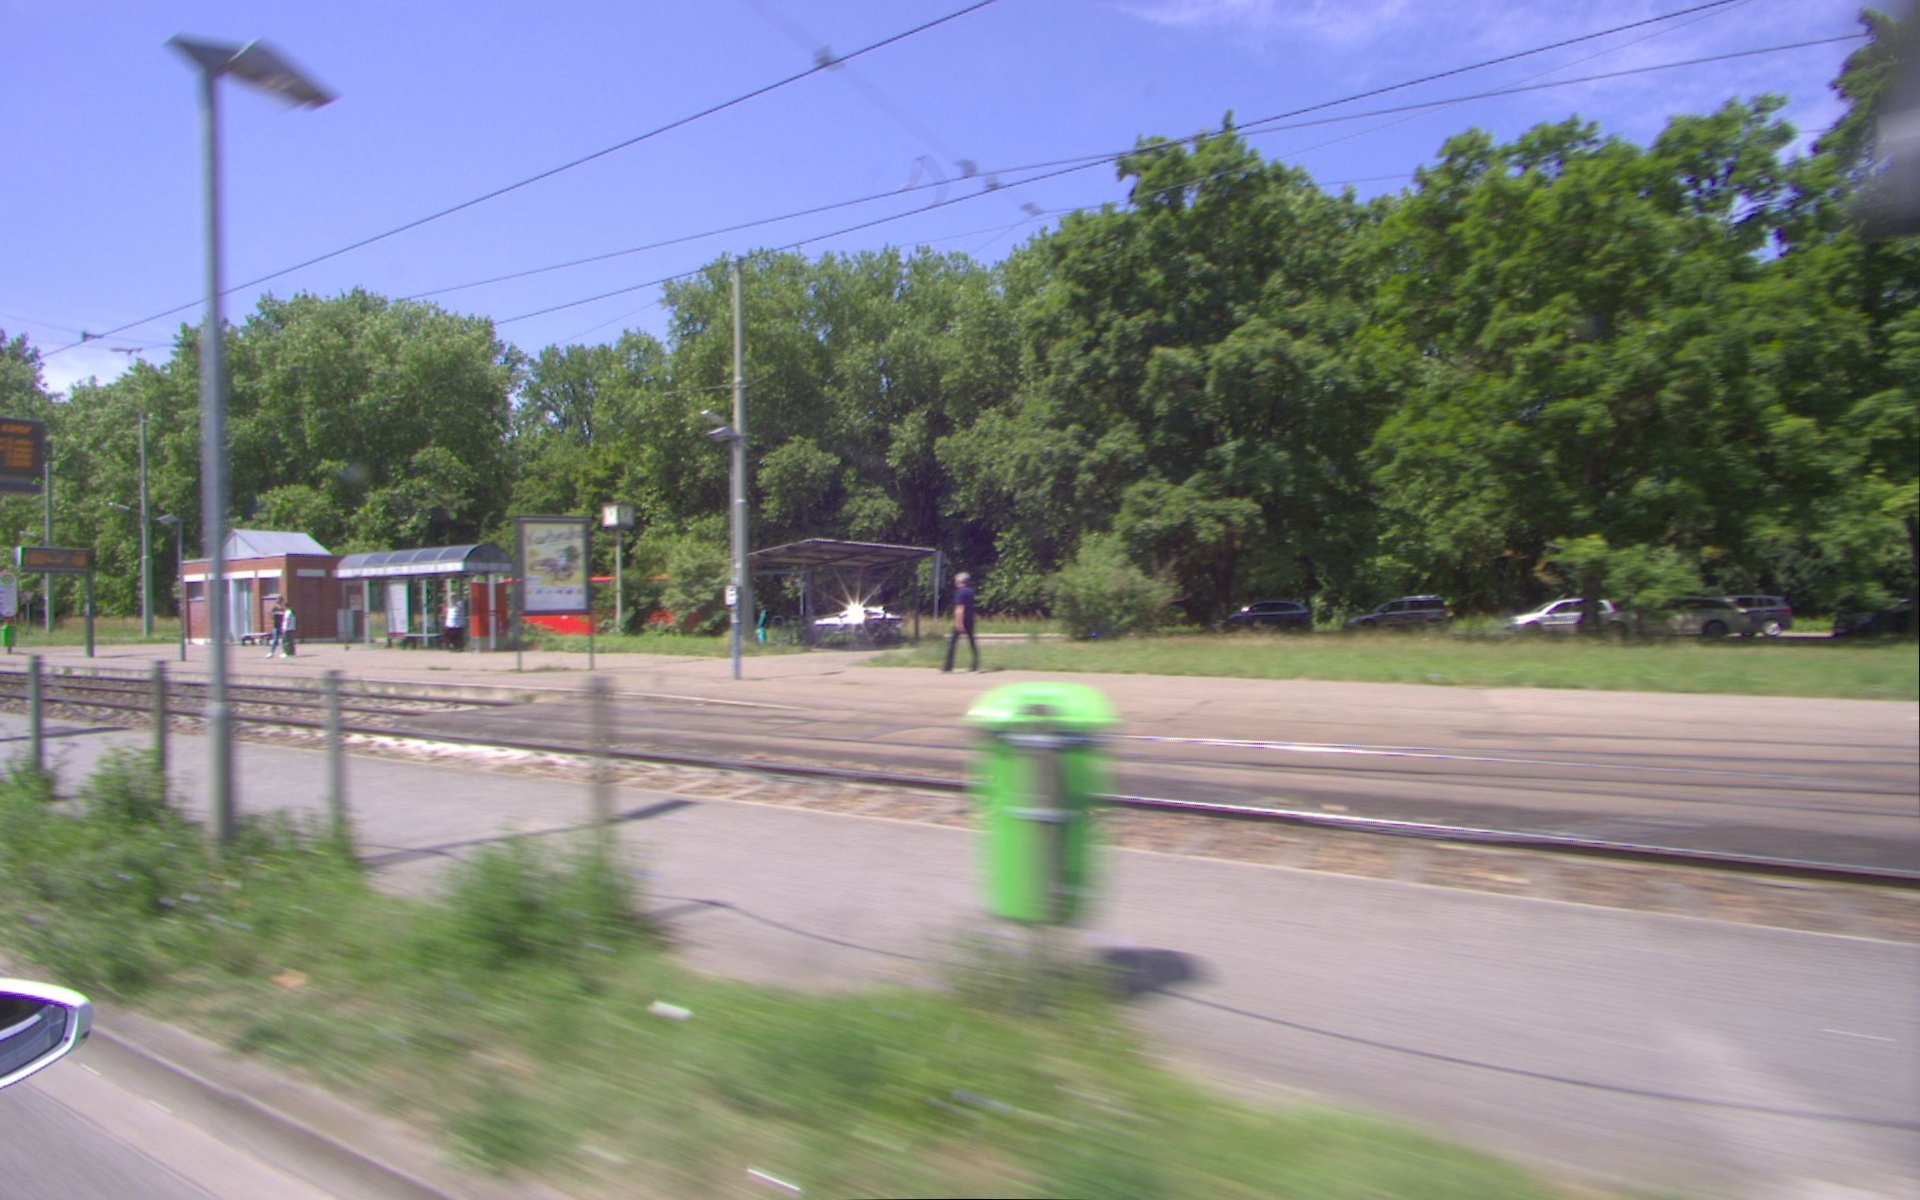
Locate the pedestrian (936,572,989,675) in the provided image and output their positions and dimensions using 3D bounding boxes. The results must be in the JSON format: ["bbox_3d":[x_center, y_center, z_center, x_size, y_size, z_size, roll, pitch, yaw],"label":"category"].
[{"bbox_3d":[0.043,0.407,17.824,0.648,1.788,0.704,0,1,33],"label":"pedestrian"}]

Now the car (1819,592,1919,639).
[{"bbox_3d":[30.238,0.473,31.935,3.870,1.442,1.957,-1,0,9],"label":"car"}]

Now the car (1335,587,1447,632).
[{"bbox_3d":[17.851,0.404,41.658,3.924,1.794,1.999,-1,0,11],"label":"car"}]

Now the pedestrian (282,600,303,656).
[{"bbox_3d":[-19.483,0.814,29.216,0.476,1.617,0.359,-1,-2,34],"label":"pedestrian"}]

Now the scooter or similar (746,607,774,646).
[{"bbox_3d":[-5.877,0.779,29.429,0.742,1.150,0.244,0,1,9],"label":"scooter or similar"}]

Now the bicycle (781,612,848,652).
[{"bbox_3d":[-4.464,0.960,30.639,2.159,1.102,0.596,2,2,32],"label":"bicycle"}]

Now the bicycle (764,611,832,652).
[{"bbox_3d":[-4.864,0.929,29.982,2.159,1.102,0.596,2,2,32],"label":"bicycle"}]

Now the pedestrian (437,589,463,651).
[{"bbox_3d":[-14.931,0.586,29.333,0.730,1.796,0.380,-2,-2,34],"label":"pedestrian"}]

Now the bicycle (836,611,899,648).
[{"bbox_3d":[-3.040,0.946,32.852,2.159,1.102,0.596,2,2,32],"label":"bicycle"}]

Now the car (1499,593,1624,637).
[{"bbox_3d":[24.262,0.601,40.522,3.925,1.684,1.852,-1,0,13],"label":"car"}]

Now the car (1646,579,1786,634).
[{"bbox_3d":[29.584,0.257,39.313,3.925,2.040,1.998,-1,0,13],"label":"car"}]

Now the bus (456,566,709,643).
[{"bbox_3d":[-18.703,0.316,49.639,12.211,3.482,2.768,-1,-2,12],"label":"bus"}]

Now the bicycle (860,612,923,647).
[{"bbox_3d":[-2.317,0.974,33.773,2.159,1.102,0.596,2,2,32],"label":"bicycle"}]

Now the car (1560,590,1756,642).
[{"bbox_3d":[23.332,0.541,33.718,4.962,1.632,2.122,-1,0,14],"label":"car"}]

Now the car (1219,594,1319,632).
[{"bbox_3d":[13.100,0.558,42.662,3.925,1.531,1.886,-1,0,12],"label":"car"}]

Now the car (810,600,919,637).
[{"bbox_3d":[-4.400,0.844,46.390,4.636,1.650,1.999,-1,0,11],"label":"car"}]

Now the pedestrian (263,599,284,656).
[{"bbox_3d":[-20.213,0.803,29.482,0.439,1.667,0.359,-1,-2,34],"label":"pedestrian"}]
